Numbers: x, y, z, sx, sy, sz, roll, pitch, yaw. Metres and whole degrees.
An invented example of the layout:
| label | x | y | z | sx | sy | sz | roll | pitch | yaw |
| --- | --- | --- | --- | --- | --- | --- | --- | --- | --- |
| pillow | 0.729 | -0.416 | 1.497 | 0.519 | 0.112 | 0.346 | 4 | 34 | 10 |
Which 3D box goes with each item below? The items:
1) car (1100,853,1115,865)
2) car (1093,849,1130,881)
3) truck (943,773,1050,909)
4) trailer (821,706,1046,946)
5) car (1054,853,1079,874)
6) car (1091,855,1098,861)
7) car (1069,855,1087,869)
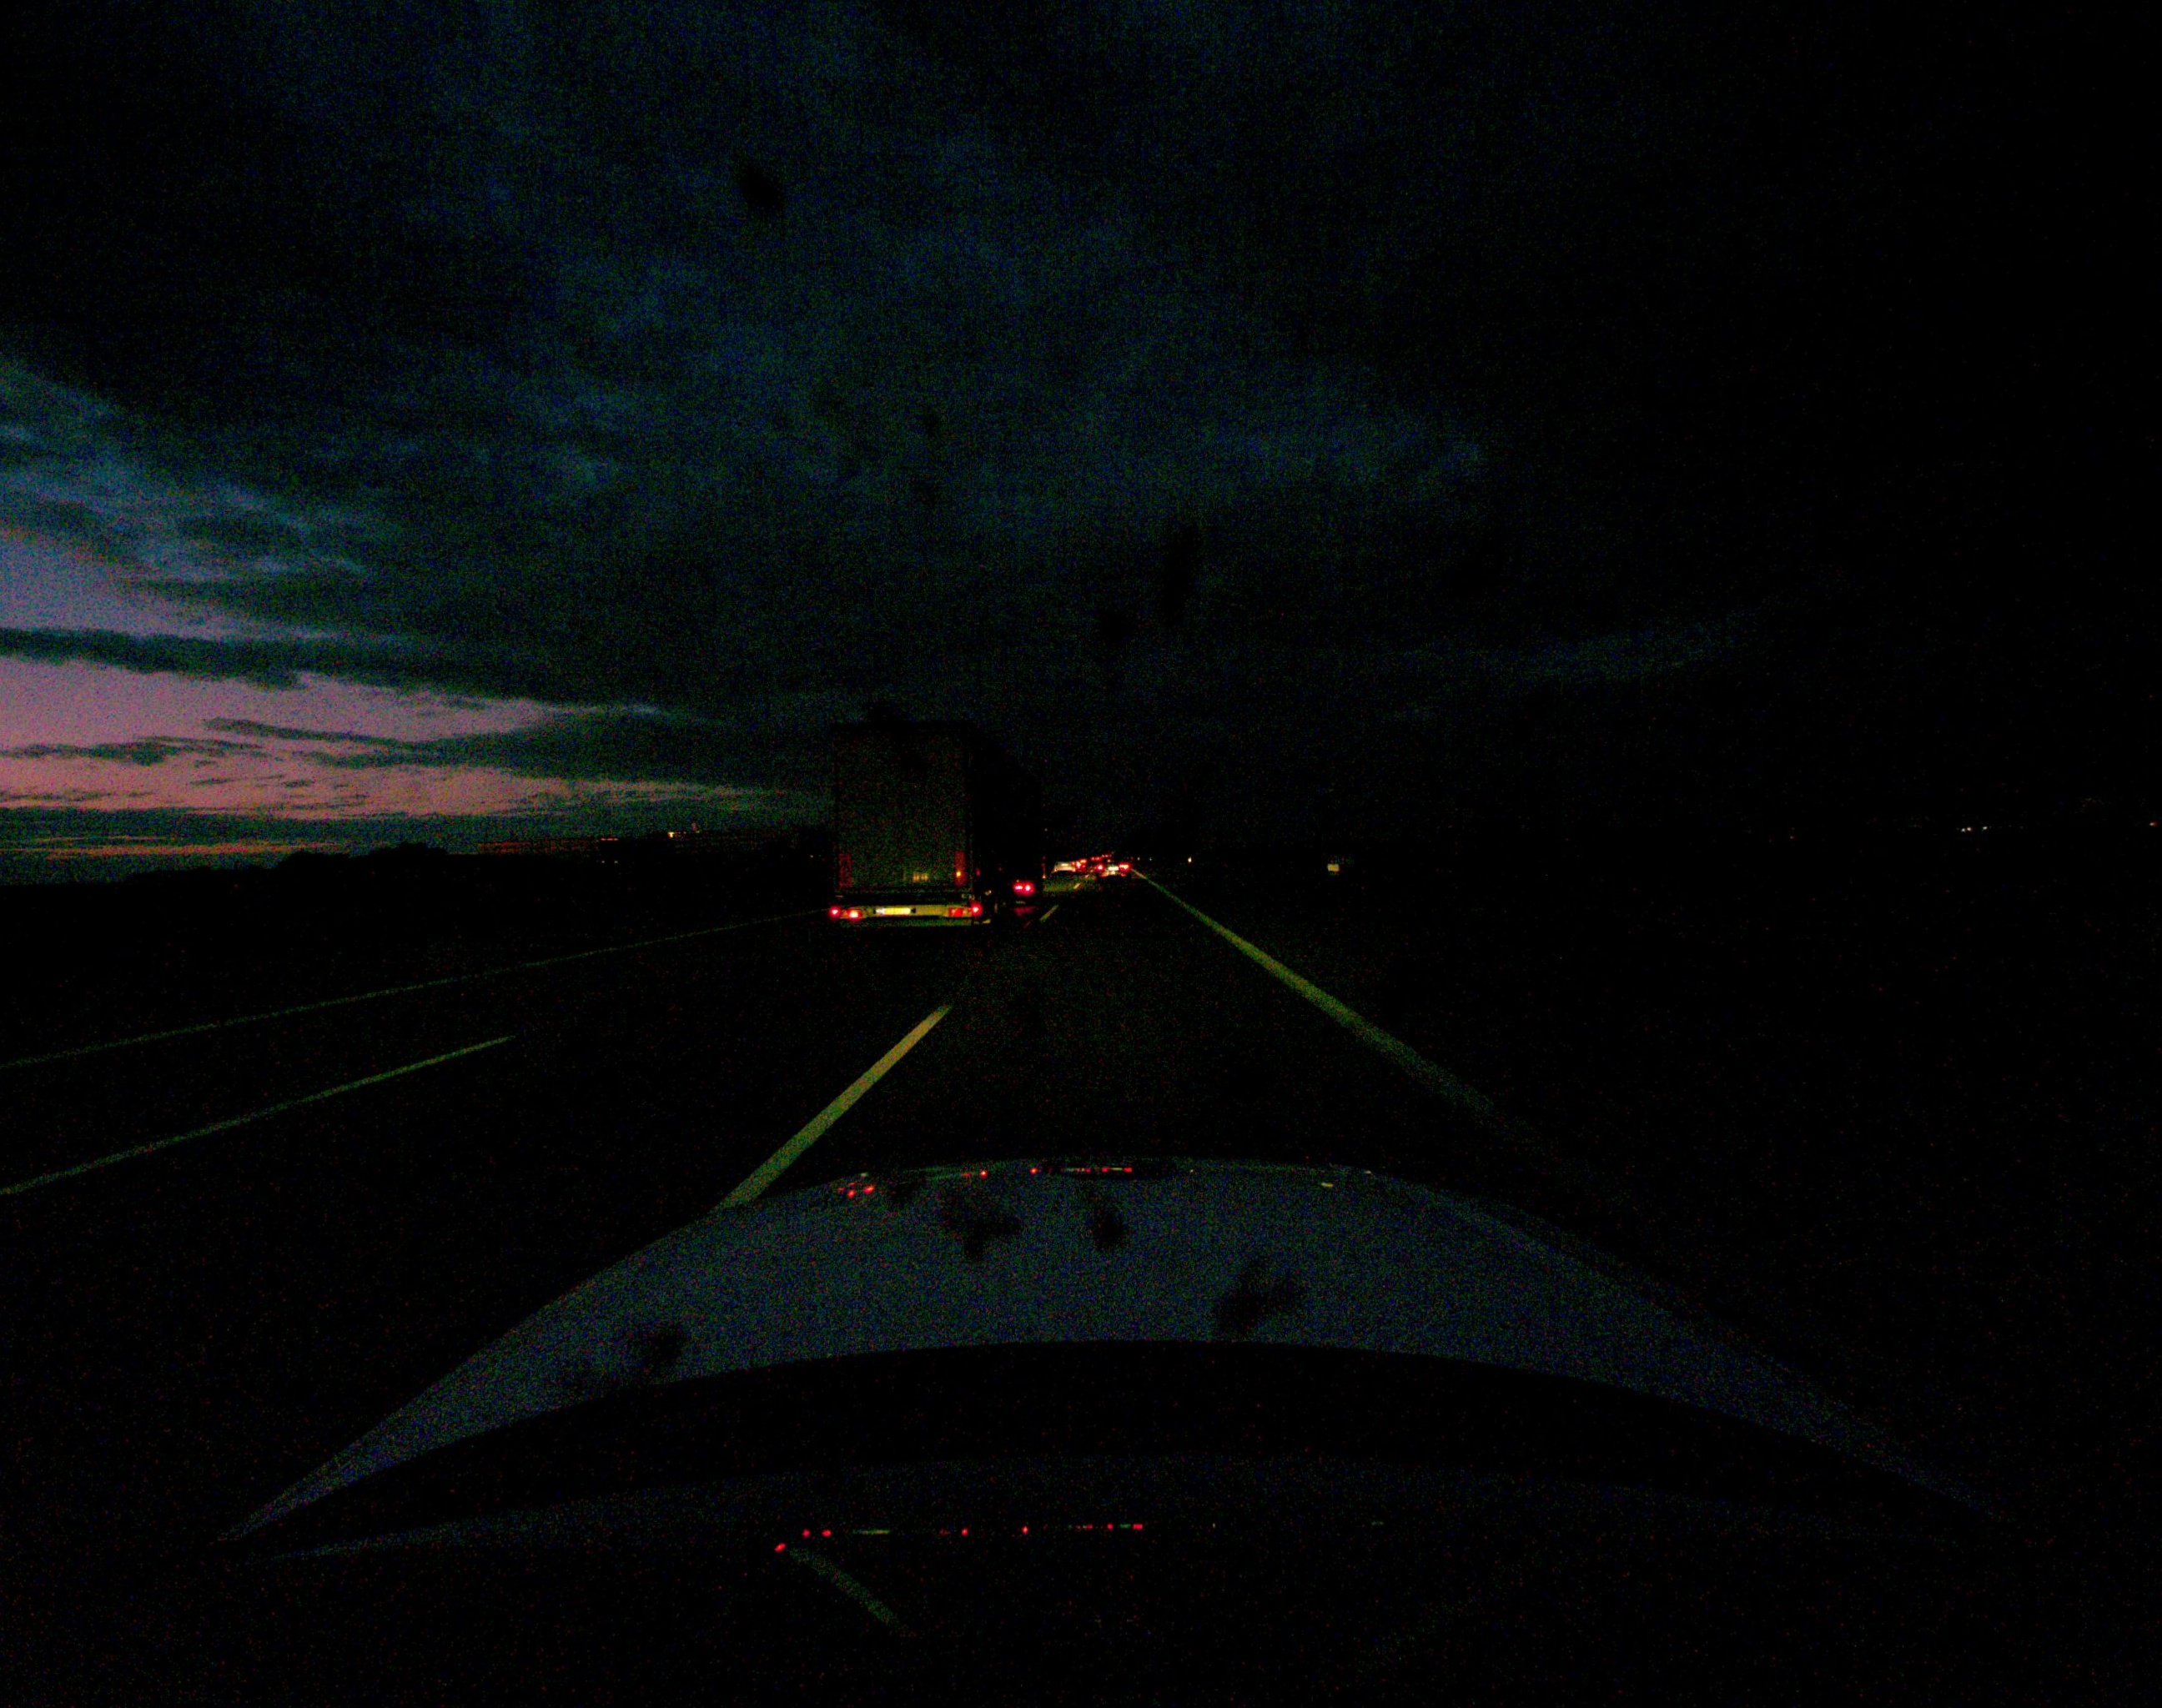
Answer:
| label | x | y | z | sx | sy | sz | roll | pitch | yaw |
| --- | --- | --- | --- | --- | --- | --- | --- | --- | --- |
| car | 3.471 | 0.615 | 106.564 | 1.873 | 1.552 | 4.001 | -1 | -1 | 1 |
| car | 1.652 | 0.582 | 44.380 | 1.873 | 1.643 | 4.002 | -1 | -1 | 2 |
| truck | -2.720 | -0.367 | 28.017 | 2.767 | 4.093 | 6.104 | -2 | -1 | 1 |
| trailer | -2.894 | -0.413 | 21.416 | 2.784 | 4.085 | 14.529 | -2 | -1 | 1 |
| car | -1.104 | 0.749 | 64.029 | 1.737 | 1.525 | 4.417 | -1 | -1 | 3 |
| car | 3.391 | 1.037 | 202.828 | 1.873 | 1.552 | 4.001 | -1 | -1 | 1 |
| car | -0.293 | 0.838 | 85.436 | 1.716 | 1.471 | 4.728 | -1 | -1 | 2 |
